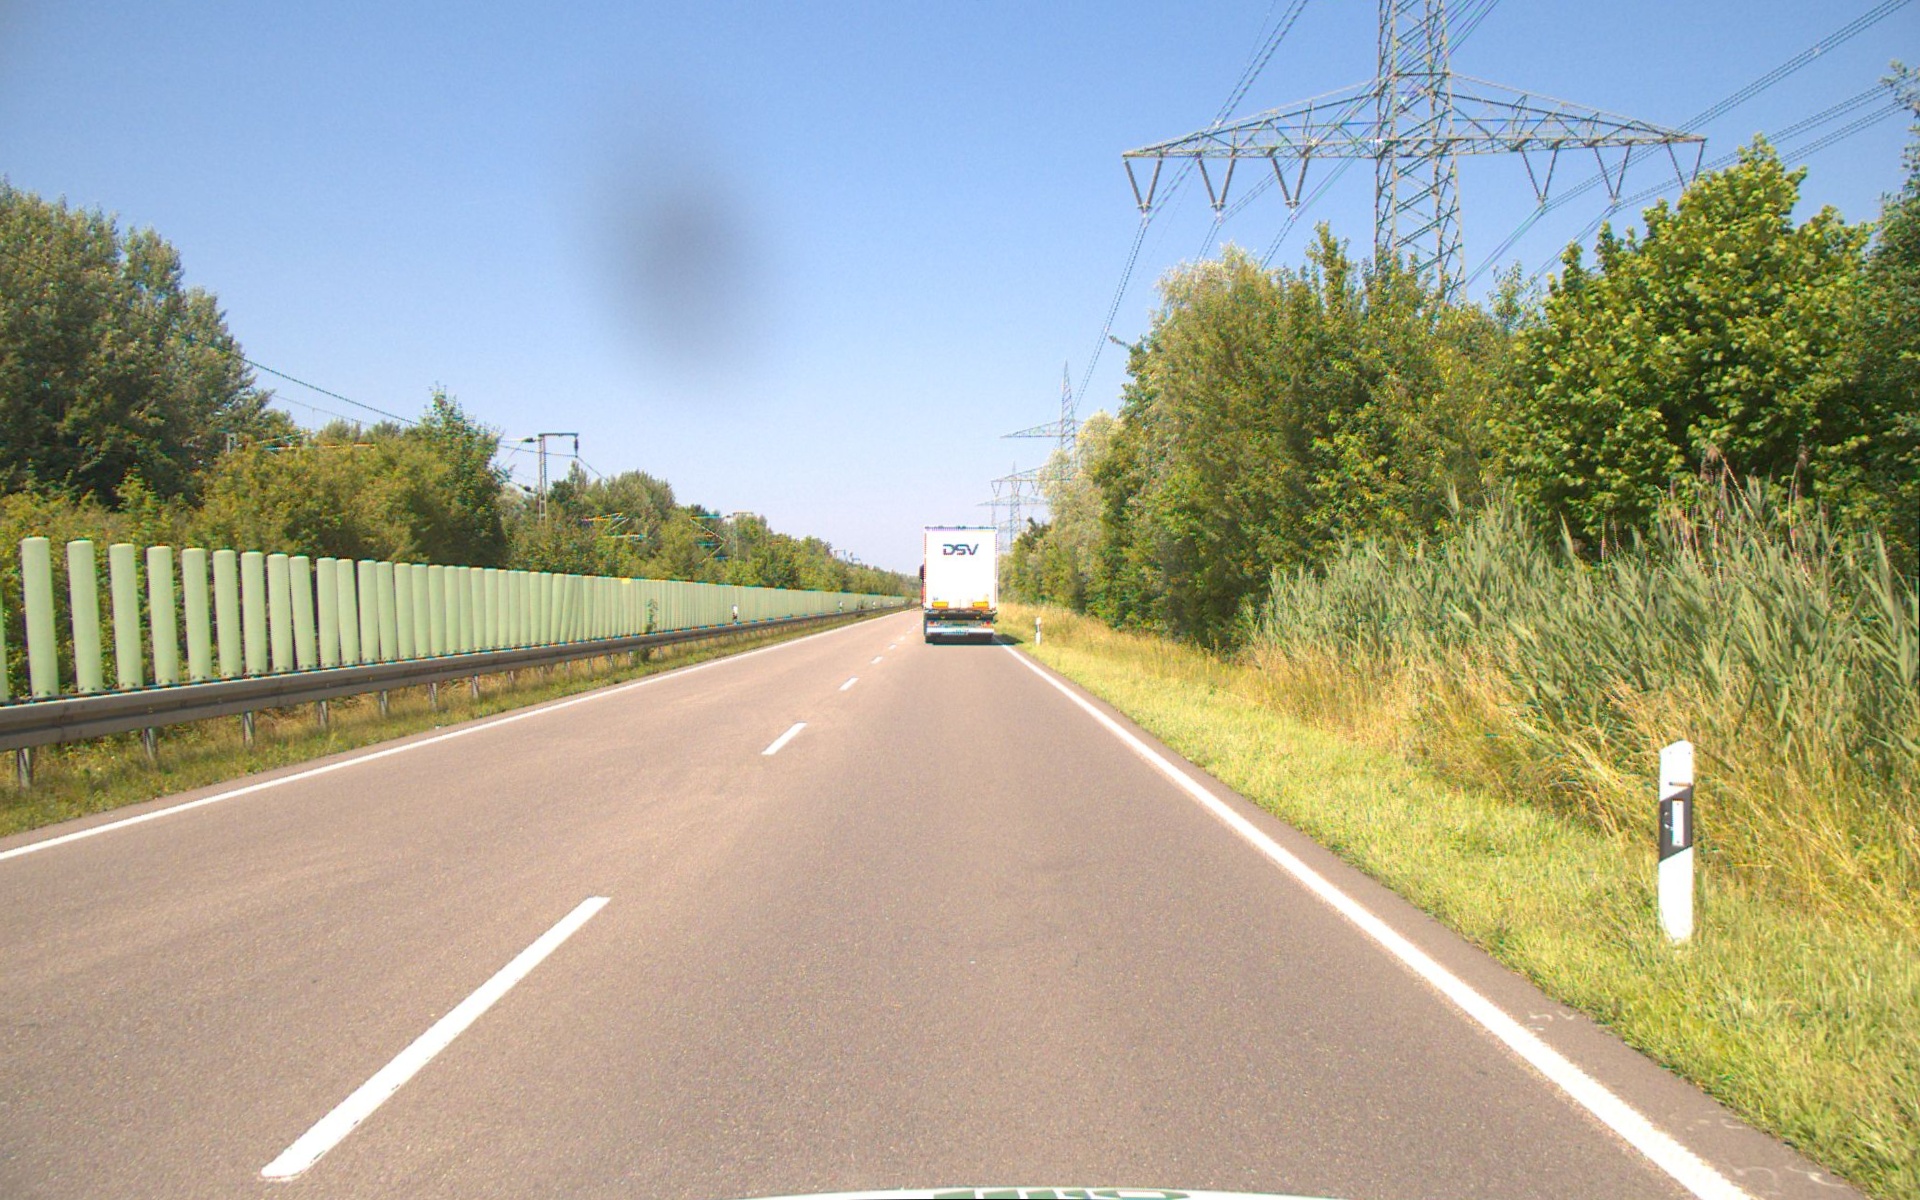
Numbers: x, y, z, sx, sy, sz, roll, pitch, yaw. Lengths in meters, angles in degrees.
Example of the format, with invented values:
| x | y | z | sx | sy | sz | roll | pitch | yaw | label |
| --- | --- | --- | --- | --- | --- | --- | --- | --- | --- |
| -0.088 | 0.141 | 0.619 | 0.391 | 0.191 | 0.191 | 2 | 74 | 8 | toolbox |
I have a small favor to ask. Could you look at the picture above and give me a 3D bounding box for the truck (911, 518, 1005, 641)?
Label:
| x | y | z | sx | sy | sz | roll | pitch | yaw | label |
| --- | --- | --- | --- | --- | --- | --- | --- | --- | --- |
| -0.169 | -0.704 | 61.727 | 3.127 | 4.113 | 12.004 | -1 | 0 | -1 | truck |
